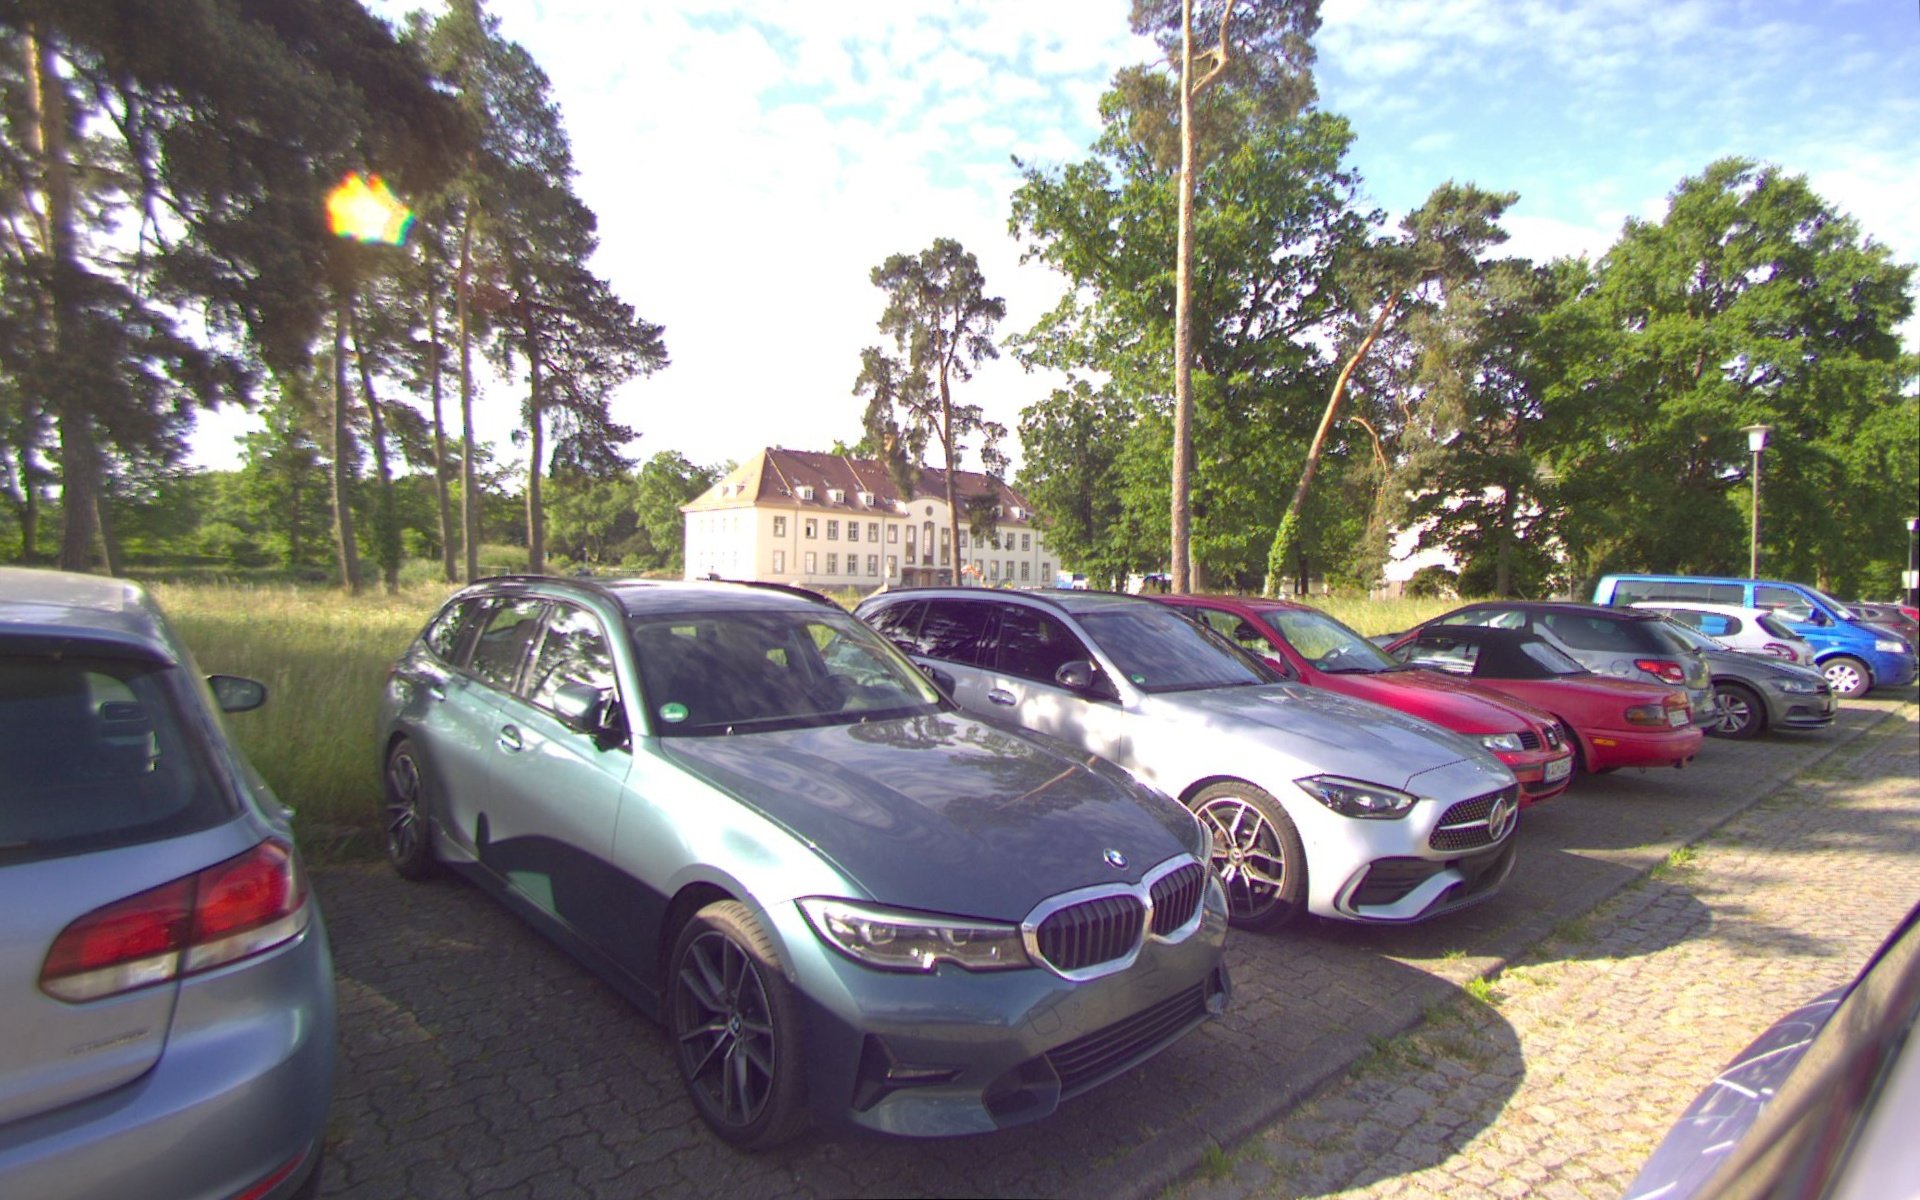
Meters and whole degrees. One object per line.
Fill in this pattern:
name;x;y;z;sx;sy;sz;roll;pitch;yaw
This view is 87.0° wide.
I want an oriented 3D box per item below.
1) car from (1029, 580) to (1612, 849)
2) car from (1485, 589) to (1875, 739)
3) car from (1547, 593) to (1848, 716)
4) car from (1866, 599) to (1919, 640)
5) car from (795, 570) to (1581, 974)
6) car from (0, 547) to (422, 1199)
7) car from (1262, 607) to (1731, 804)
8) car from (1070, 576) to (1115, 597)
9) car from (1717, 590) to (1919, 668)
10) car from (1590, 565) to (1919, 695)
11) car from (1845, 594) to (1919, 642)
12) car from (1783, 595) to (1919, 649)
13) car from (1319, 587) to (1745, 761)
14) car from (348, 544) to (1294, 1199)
car;2.510;0.626;7.801;1.632;1.410;3.915;0;3;-42
car;8.690;0.653;12.534;1.478;1.509;3.630;0;1;-31
car;10.558;0.688;14.657;1.423;1.509;3.265;0;1;-39
car;39.435;0.773;40.846;1.724;1.635;3.997;-1;-1;-37
car;0.976;0.616;6.153;1.795;1.419;4.419;0;3;-42
car;-2.989;0.591;2.717;1.839;1.478;4.023;0;2;-42
car;4.522;0.762;8.877;1.395;1.271;3.353;0;1;-42
car;13.590;-1.397;103.708;4.689;2.039;1.997;0;1;-41
car;20.845;0.633;24.280;1.725;1.660;3.997;0;1;-38
car;14.405;0.409;18.309;1.964;2.039;4.725;0;1;-40
car;35.863;0.646;37.780;1.725;1.763;3.996;0;0;-38
car;28.221;0.650;31.317;1.725;1.537;3.997;0;1;-38
car;6.083;0.651;11.103;1.522;1.509;3.776;0;1;-42
car;-1.077;0.573;4.456;1.796;1.535;4.499;0;3;-44
